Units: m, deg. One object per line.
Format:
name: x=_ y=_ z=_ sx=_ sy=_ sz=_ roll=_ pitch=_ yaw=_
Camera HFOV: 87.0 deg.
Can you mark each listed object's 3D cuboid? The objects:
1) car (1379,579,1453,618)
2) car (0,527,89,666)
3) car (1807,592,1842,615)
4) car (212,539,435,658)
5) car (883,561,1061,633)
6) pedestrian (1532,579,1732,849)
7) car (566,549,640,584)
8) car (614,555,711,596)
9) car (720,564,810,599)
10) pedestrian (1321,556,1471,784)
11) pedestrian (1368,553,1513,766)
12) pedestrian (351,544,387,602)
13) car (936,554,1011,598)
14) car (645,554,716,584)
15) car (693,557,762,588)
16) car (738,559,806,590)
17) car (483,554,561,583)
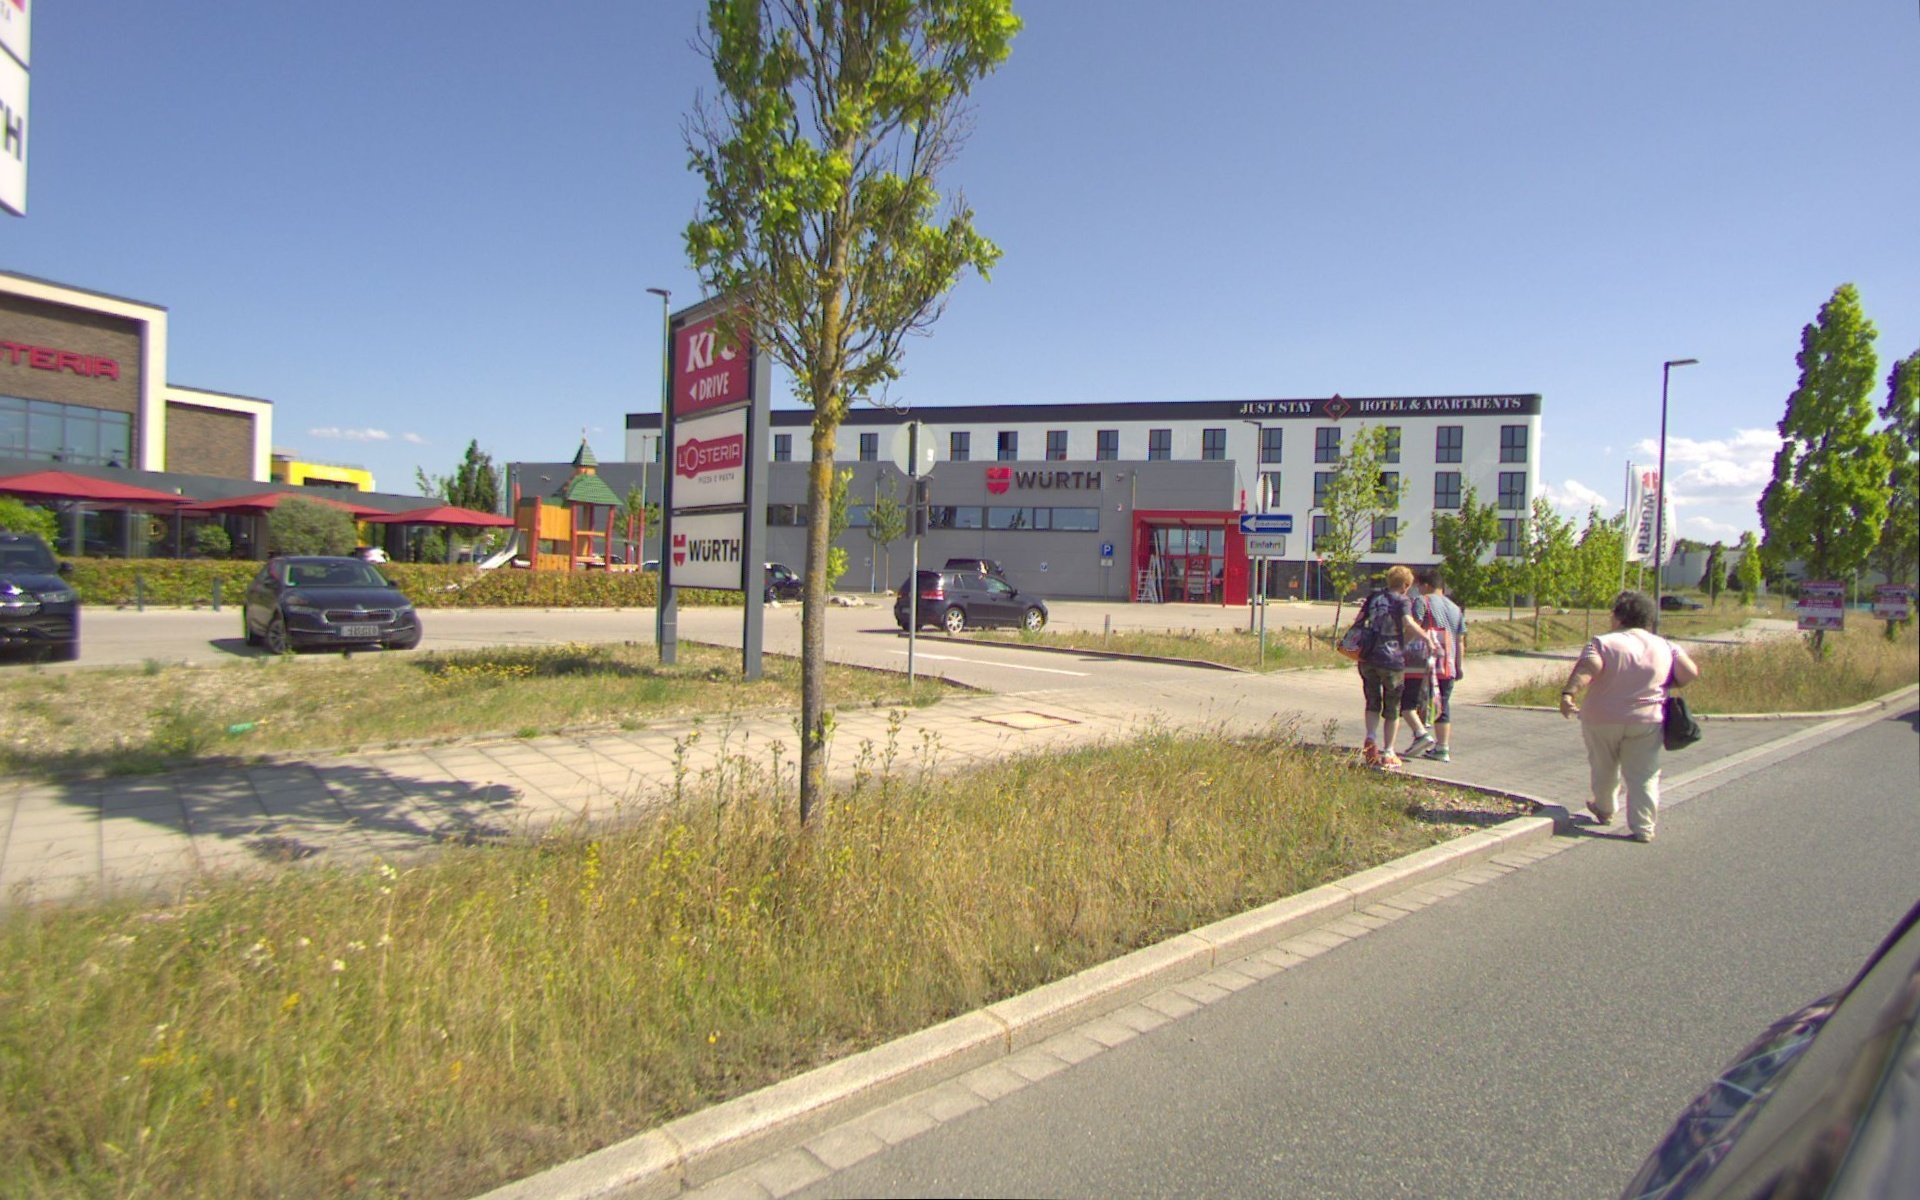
car: x=18.229 y=-0.064 z=40.365 sx=1.513 sy=1.425 sz=3.939 roll=3 pitch=2 yaw=42
car: x=-13.944 y=-0.171 z=14.380 sx=4.984 sy=1.756 sz=1.909 roll=4 pitch=2 yaw=44
car: x=60.250 y=0.195 z=70.537 sx=1.779 sy=1.512 sz=3.942 roll=2 pitch=2 yaw=40
car: x=-10.145 y=-0.108 z=15.985 sx=4.408 sy=1.586 sz=1.963 roll=4 pitch=2 yaw=44
car: x=0.349 y=-0.100 z=24.208 sx=4.096 sy=1.559 sz=1.784 roll=0 pitch=2 yaw=-41
pedestrian: x=4.129 y=0.623 z=6.215 sx=0.932 sy=1.488 sz=0.794 roll=0 pitch=1 yaw=-41
car: x=-19.021 y=-1.772 z=54.103 sx=1.679 sy=1.779 sz=4.087 roll=2 pitch=2 yaw=17
car: x=-11.620 y=-0.953 z=39.803 sx=1.678 sy=1.490 sz=4.212 roll=2 pitch=2 yaw=16
car: x=-7.202 y=-0.703 z=37.755 sx=1.631 sy=1.227 sz=4.115 roll=2 pitch=2 yaw=16
pedestrian: x=3.397 y=0.494 z=7.893 sx=0.791 sy=1.650 sz=0.802 roll=0 pitch=1 yaw=-41
pedestrian: x=3.997 y=0.447 z=8.428 sx=0.851 sy=1.648 sz=0.810 roll=0 pitch=1 yaw=-41
pedestrian: x=-18.348 y=-0.831 z=31.431 sx=0.514 sy=1.771 sz=0.813 roll=2 pitch=1 yaw=31
car: x=0.680 y=-1.090 z=46.490 sx=2.022 sy=1.838 sz=4.895 roll=2 pitch=2 yaw=19
car: x=-14.578 y=-1.626 z=53.003 sx=1.679 sy=1.480 sz=4.087 roll=2 pitch=2 yaw=17
car: x=-11.874 y=-1.404 z=51.931 sx=1.679 sy=1.480 sz=4.087 roll=2 pitch=2 yaw=17
car: x=-9.468 y=-1.305 z=51.233 sx=1.679 sy=1.480 sz=4.087 roll=2 pitch=2 yaw=17
car: x=-23.800 y=-1.712 z=55.114 sx=1.679 sy=1.480 sz=4.087 roll=2 pitch=2 yaw=17
